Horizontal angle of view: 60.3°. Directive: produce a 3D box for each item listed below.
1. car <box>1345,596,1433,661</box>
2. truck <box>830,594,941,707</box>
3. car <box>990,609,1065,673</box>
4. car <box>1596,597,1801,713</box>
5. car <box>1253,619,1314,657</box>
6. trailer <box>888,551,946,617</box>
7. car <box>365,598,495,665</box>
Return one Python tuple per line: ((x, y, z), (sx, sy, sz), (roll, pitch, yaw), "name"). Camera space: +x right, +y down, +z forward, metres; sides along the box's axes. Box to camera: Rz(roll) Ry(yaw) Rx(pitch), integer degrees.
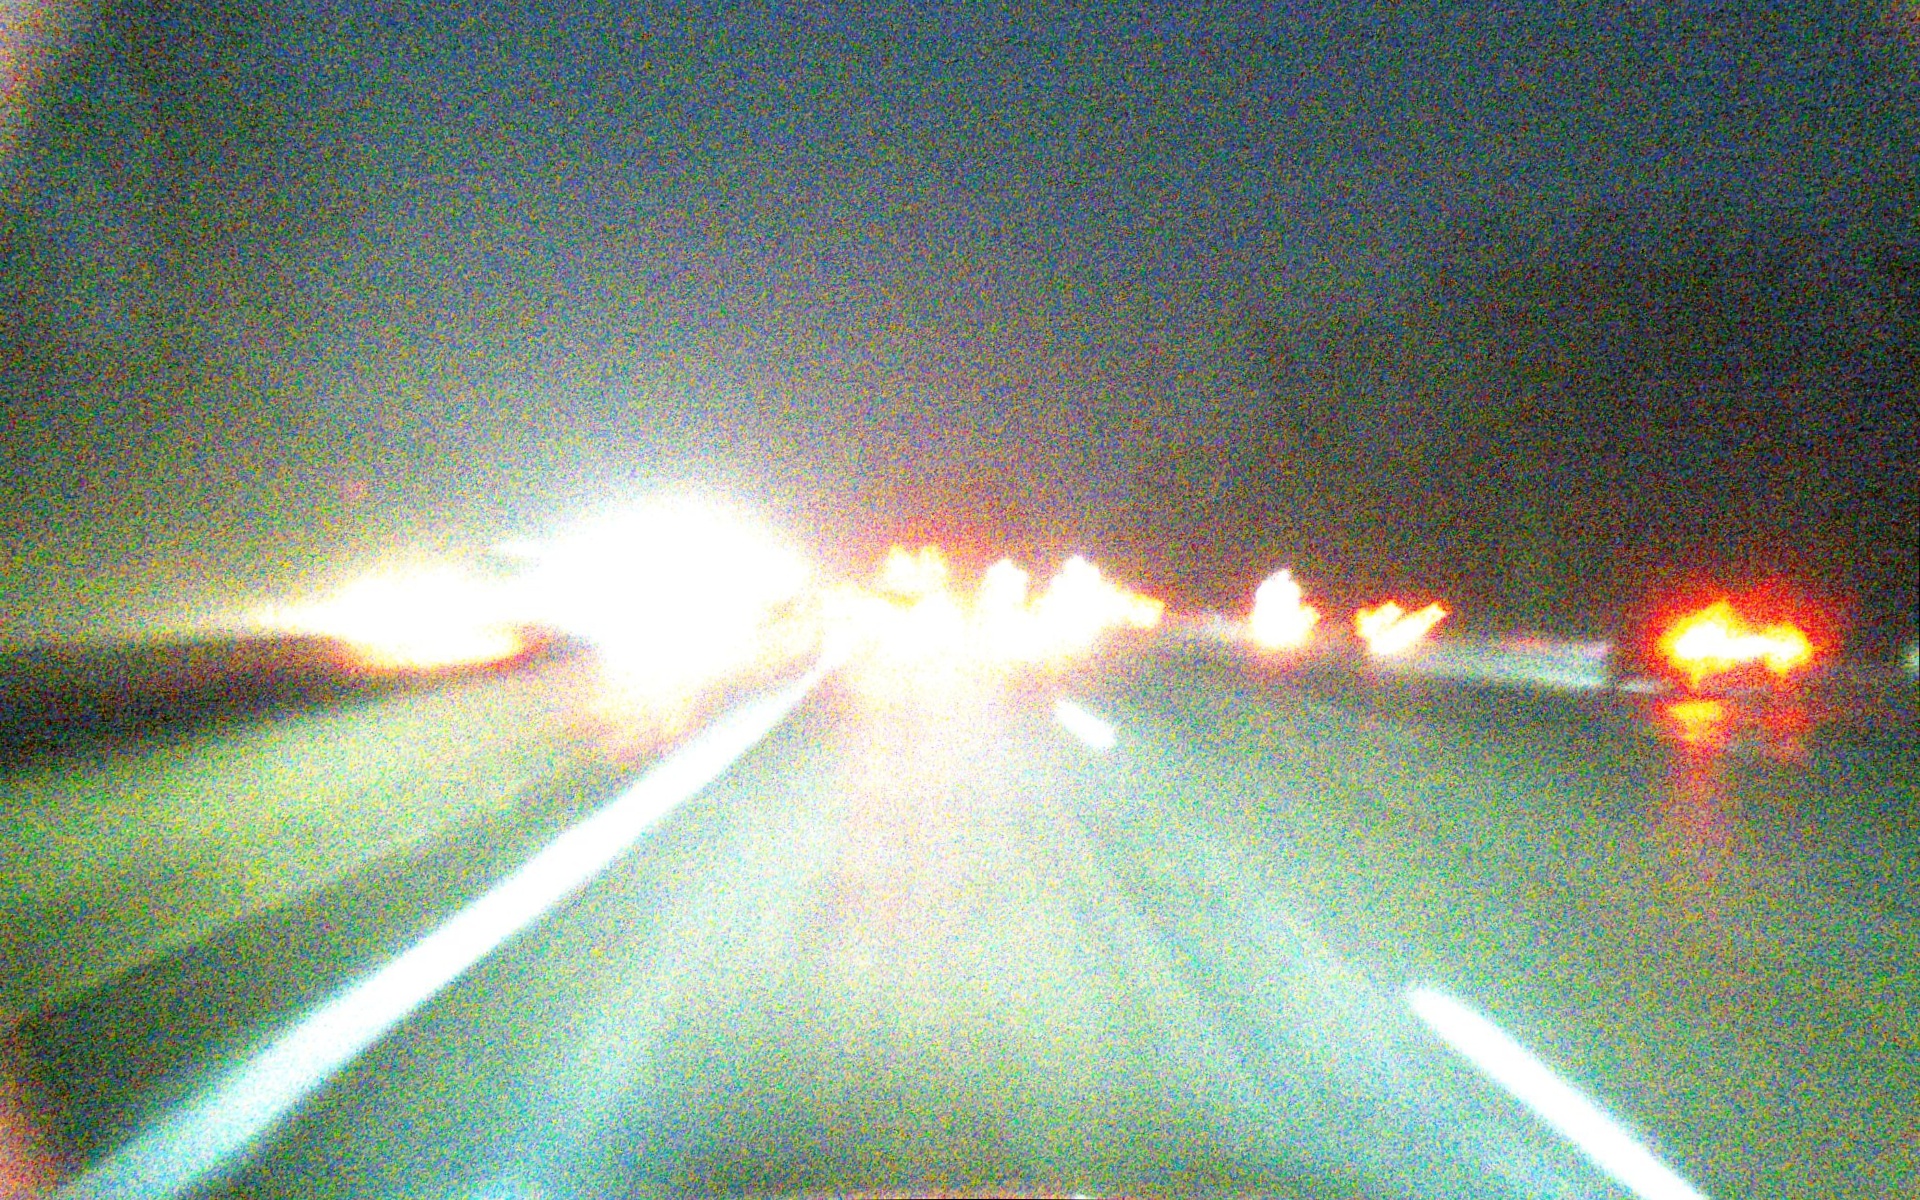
((14.704, 0.950, 56.892), (2.186, 2.048, 4.002), (2, 1, 4), "car")
((-1.713, 1.010, 36.448), (2.103, 2.113, 6.598), (4, 0, -4), "truck")
((1.804, 1.093, 45.663), (1.764, 1.645, 4.255), (0, 0, -2), "car")
((14.930, 1.035, 33.816), (2.019, 2.048, 5.452), (2, 1, 4), "car")
((15.422, 1.793, 78.985), (1.953, 1.628, 3.999), (4, 0, -2), "car")
((-3.298, -1.042, 123.280), (2.688, 4.322, 13.347), (4, -2, -7), "trailer")
((-12.848, 0.717, 40.388), (1.768, 1.430, 4.287), (4, 0, -1), "car")
